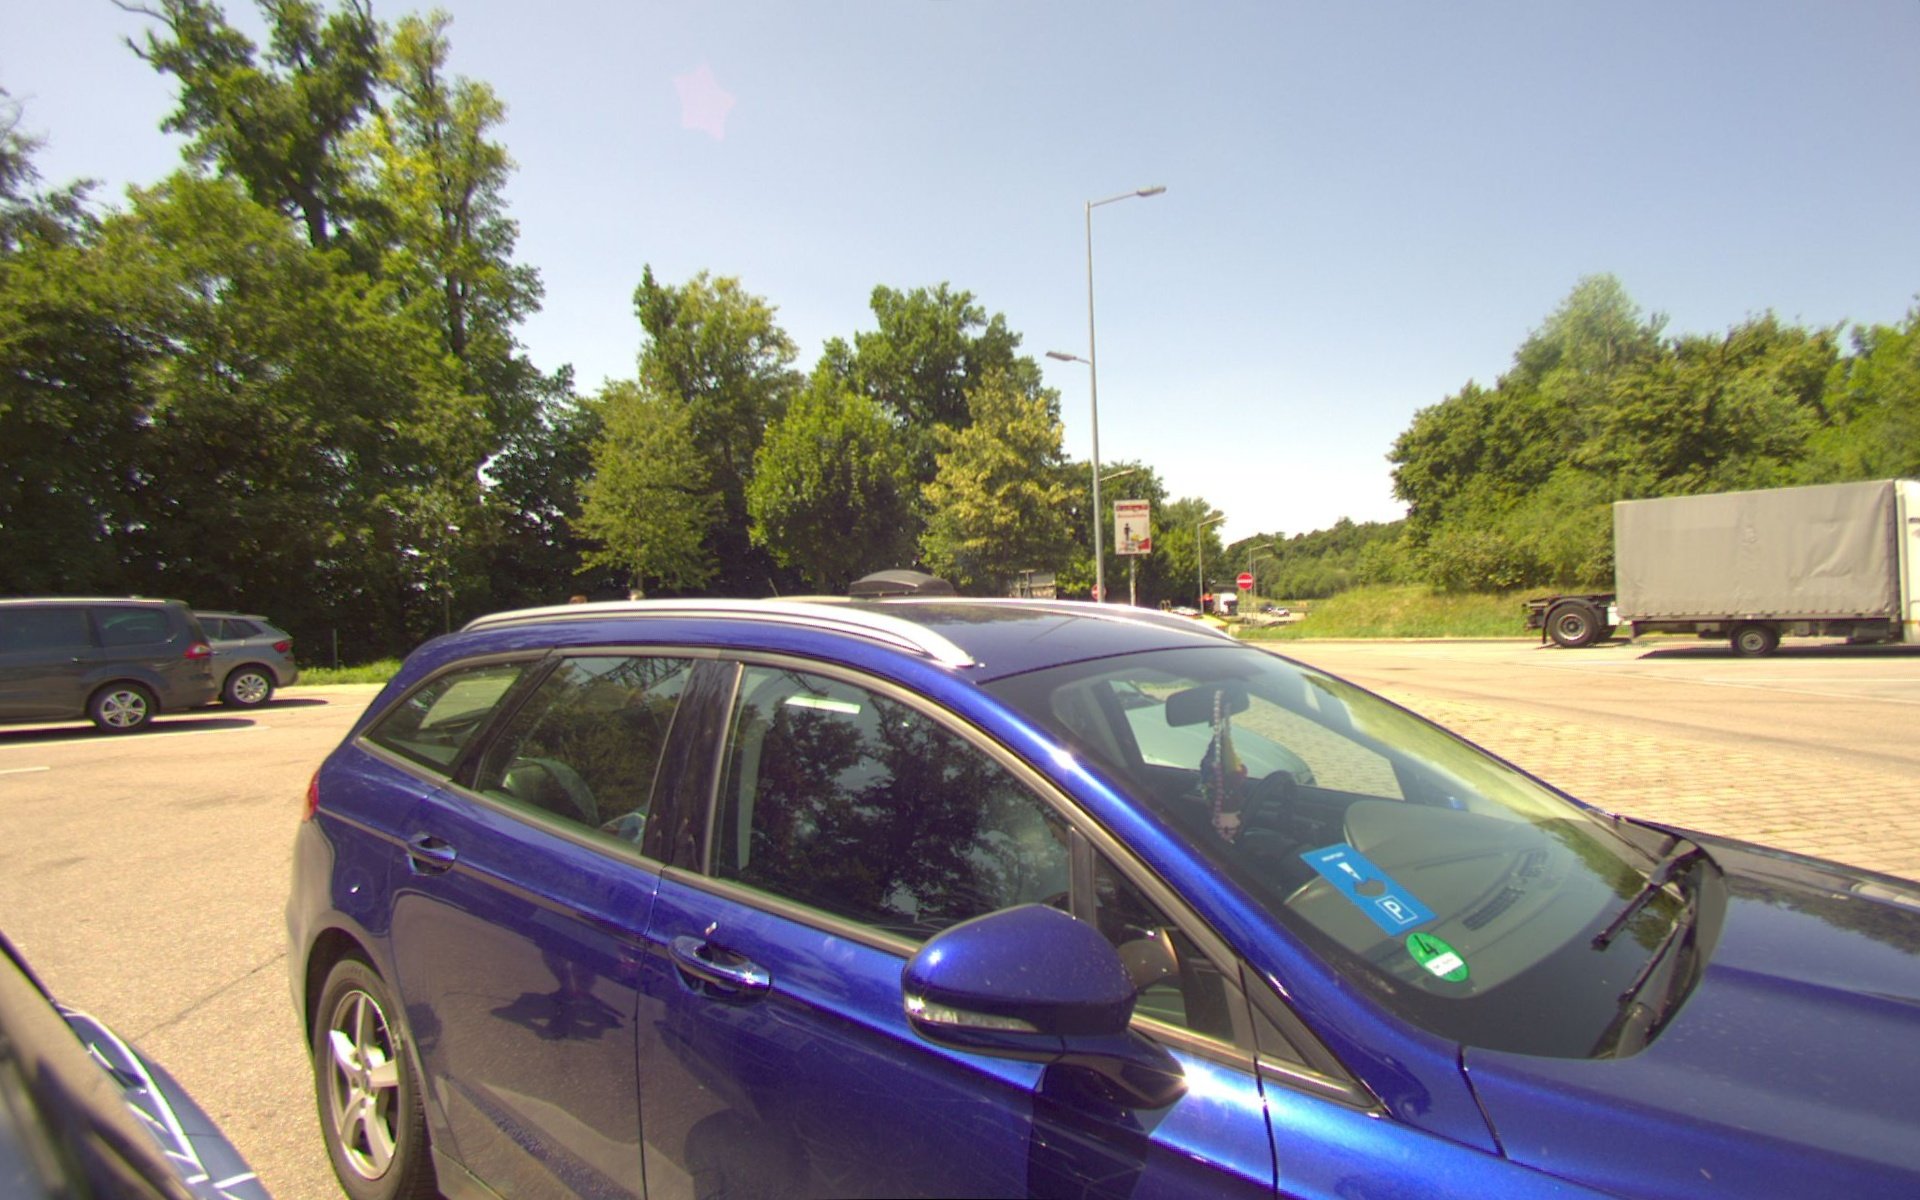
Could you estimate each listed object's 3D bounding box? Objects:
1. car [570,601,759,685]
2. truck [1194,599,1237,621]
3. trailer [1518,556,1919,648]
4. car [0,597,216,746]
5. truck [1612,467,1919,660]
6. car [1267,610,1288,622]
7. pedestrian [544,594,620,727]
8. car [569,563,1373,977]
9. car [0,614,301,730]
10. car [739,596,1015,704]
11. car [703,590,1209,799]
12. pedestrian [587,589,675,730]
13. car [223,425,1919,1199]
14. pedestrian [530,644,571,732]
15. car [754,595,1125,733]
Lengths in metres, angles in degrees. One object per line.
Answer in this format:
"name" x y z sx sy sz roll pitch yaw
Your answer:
"car" -6.660 0.907 23.405 1.983 1.725 4.591 -1 0 17
"truck" 46.943 1.691 186.861 2.570 3.849 16.338 -1 0 -4
"trailer" 17.270 0.123 23.377 7.295 1.701 2.235 -4 -1 43
"car" -11.926 0.857 12.286 4.553 1.725 1.741 0 -1 -41
"truck" 16.844 -0.657 18.949 7.295 3.259 2.709 -4 -1 43
"car" 50.121 2.479 159.914 1.873 1.829 4.003 -1 0 -3
"pedestrian" -4.951 0.778 13.297 0.820 1.676 0.677 -1 -1 -11
"car" -0.242 0.693 5.821 4.490 1.511 1.754 -3 -1 40
"car" -12.580 1.001 15.450 1.687 1.515 3.943 -1 0 43
"car" -1.461 0.824 16.843 4.485 1.562 1.756 -3 -1 36
"car" -0.229 0.748 9.196 4.490 1.437 1.754 -3 -1 40
"pedestrian" -4.232 0.738 13.019 0.675 1.746 0.823 -2 -1 38
"car" 0.270 0.660 2.123 4.490 1.502 1.851 -3 0 40
"pedestrian" -5.119 1.089 12.664 0.427 1.052 0.440 -1 -1 -17
"car" -0.370 0.773 12.743 4.485 1.437 1.756 -3 -1 36
